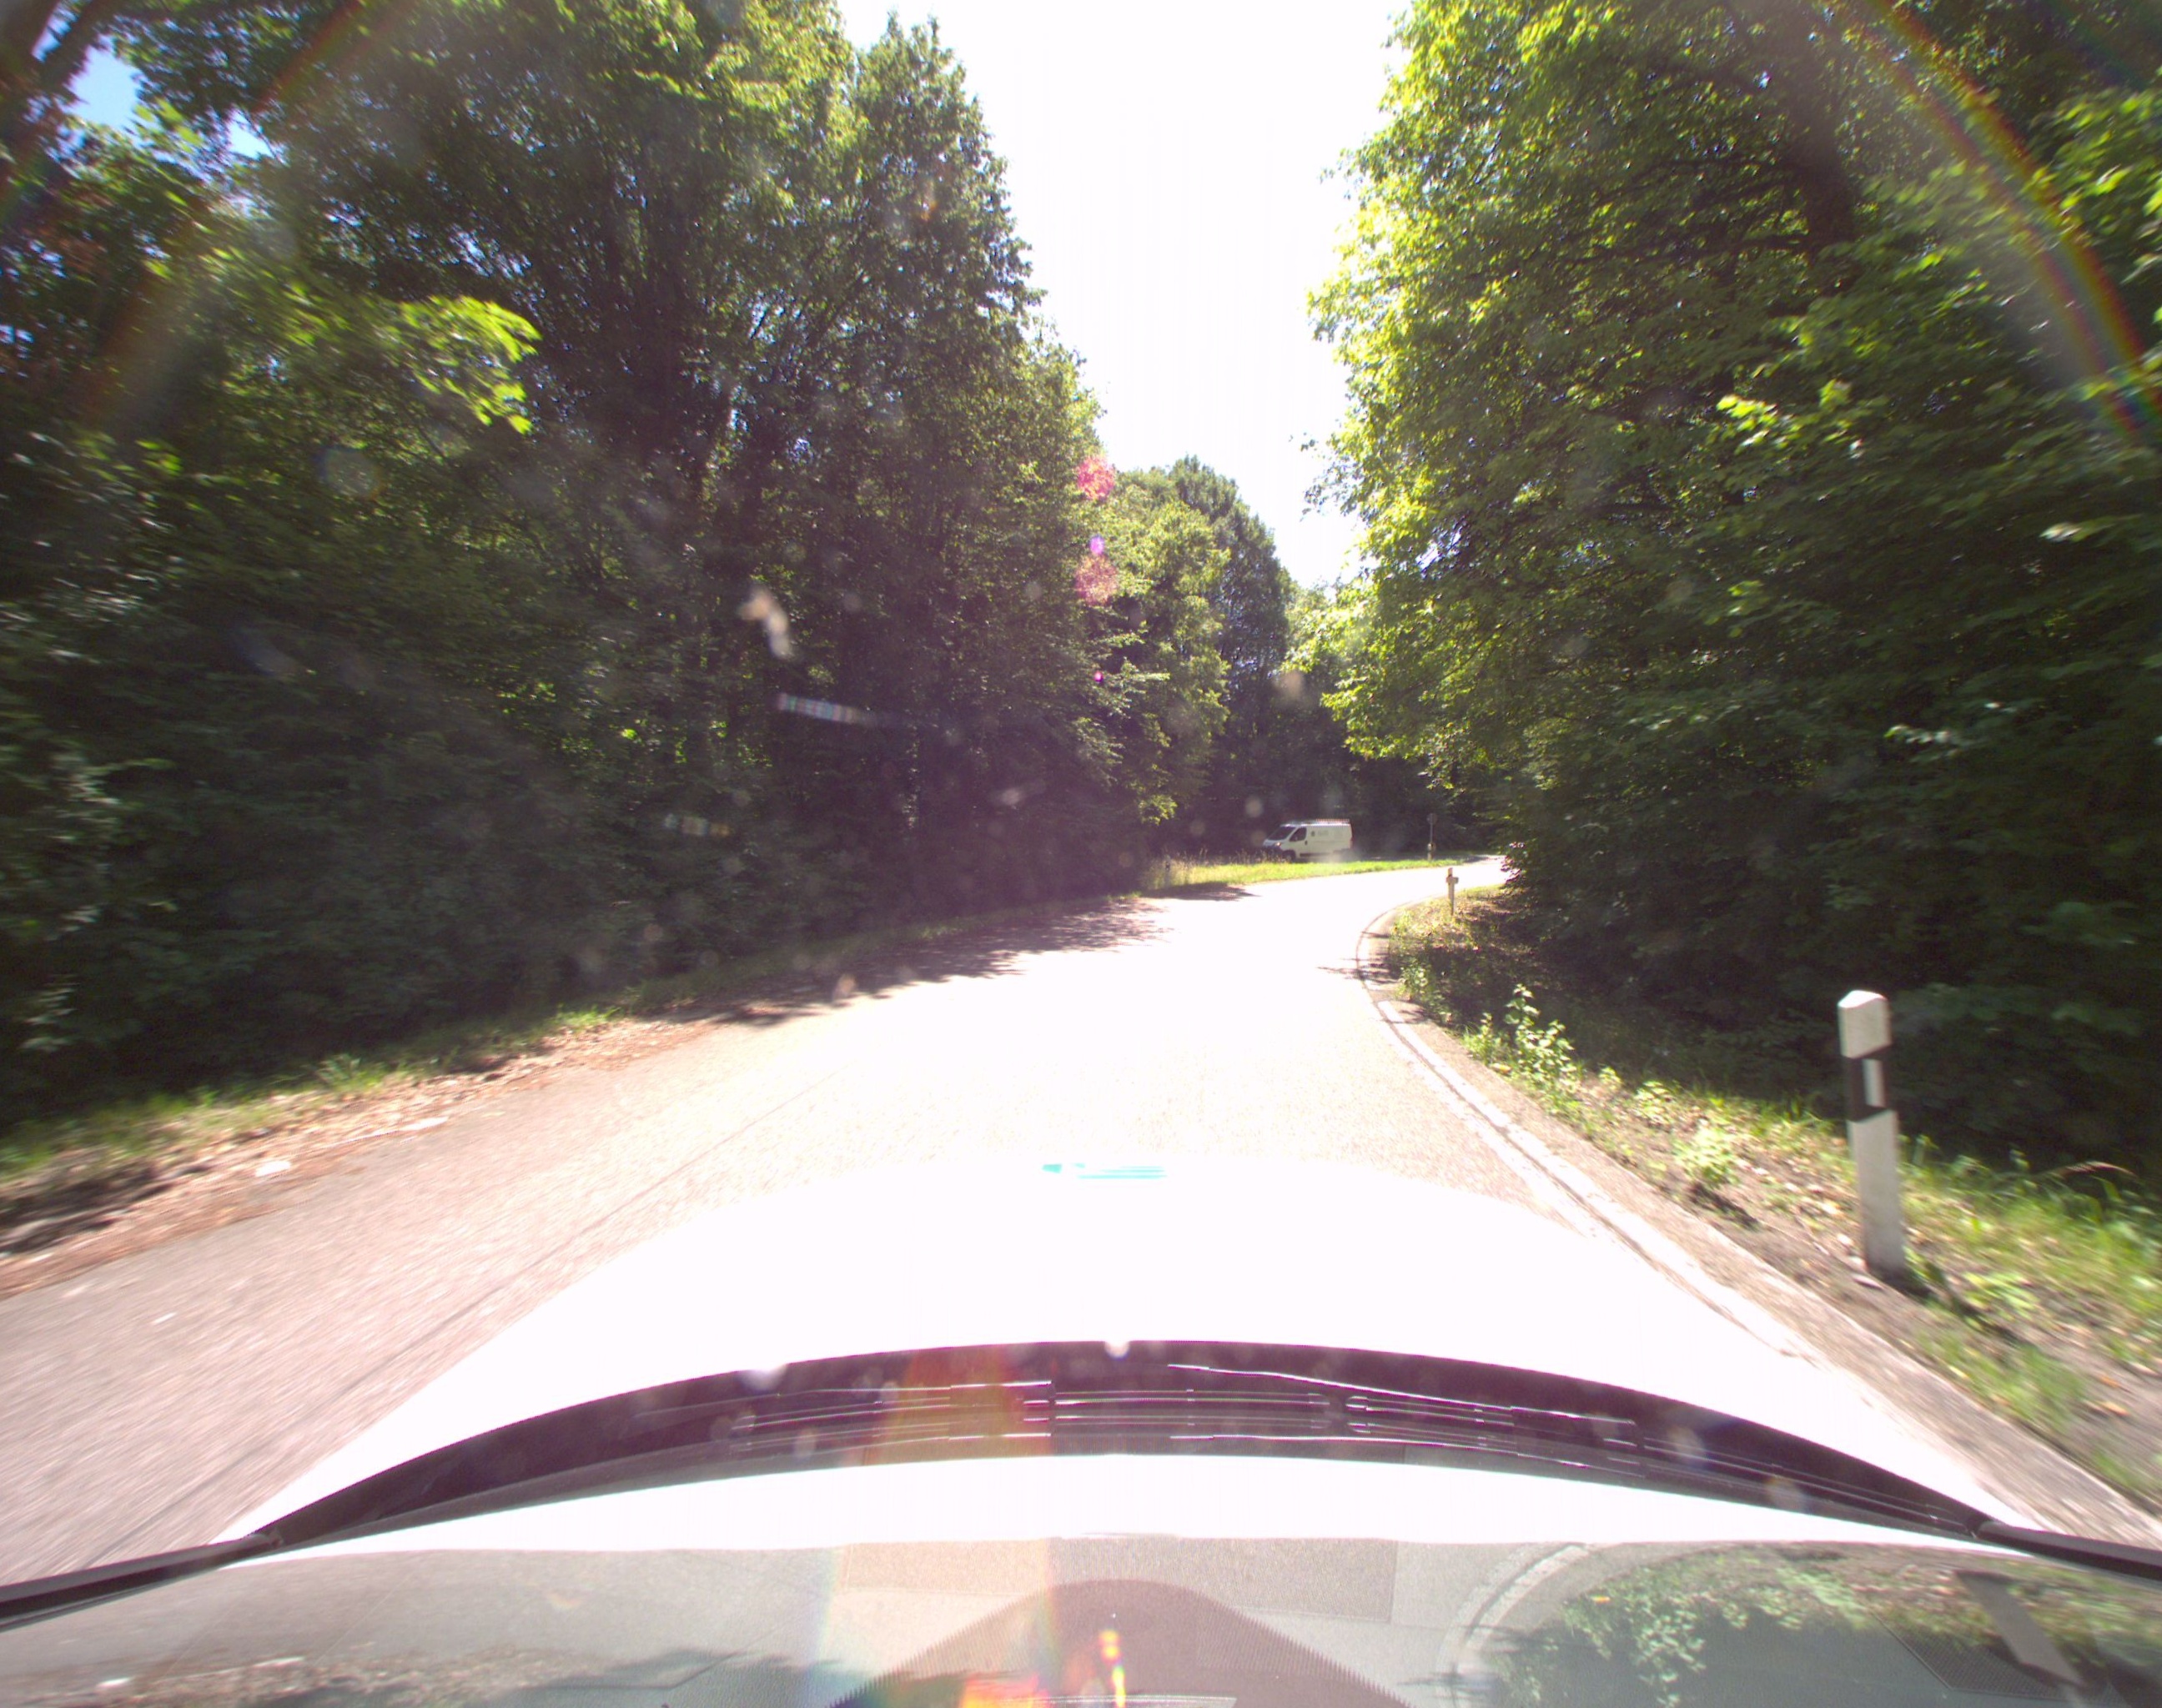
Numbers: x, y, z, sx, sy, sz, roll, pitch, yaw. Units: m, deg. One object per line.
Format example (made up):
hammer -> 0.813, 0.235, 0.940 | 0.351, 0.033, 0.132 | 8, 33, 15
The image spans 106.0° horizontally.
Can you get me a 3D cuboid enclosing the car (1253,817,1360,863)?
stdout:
car -> 12.406, -0.802, 44.805 | 5.422, 2.345, 2.057 | -1, 4, -17
